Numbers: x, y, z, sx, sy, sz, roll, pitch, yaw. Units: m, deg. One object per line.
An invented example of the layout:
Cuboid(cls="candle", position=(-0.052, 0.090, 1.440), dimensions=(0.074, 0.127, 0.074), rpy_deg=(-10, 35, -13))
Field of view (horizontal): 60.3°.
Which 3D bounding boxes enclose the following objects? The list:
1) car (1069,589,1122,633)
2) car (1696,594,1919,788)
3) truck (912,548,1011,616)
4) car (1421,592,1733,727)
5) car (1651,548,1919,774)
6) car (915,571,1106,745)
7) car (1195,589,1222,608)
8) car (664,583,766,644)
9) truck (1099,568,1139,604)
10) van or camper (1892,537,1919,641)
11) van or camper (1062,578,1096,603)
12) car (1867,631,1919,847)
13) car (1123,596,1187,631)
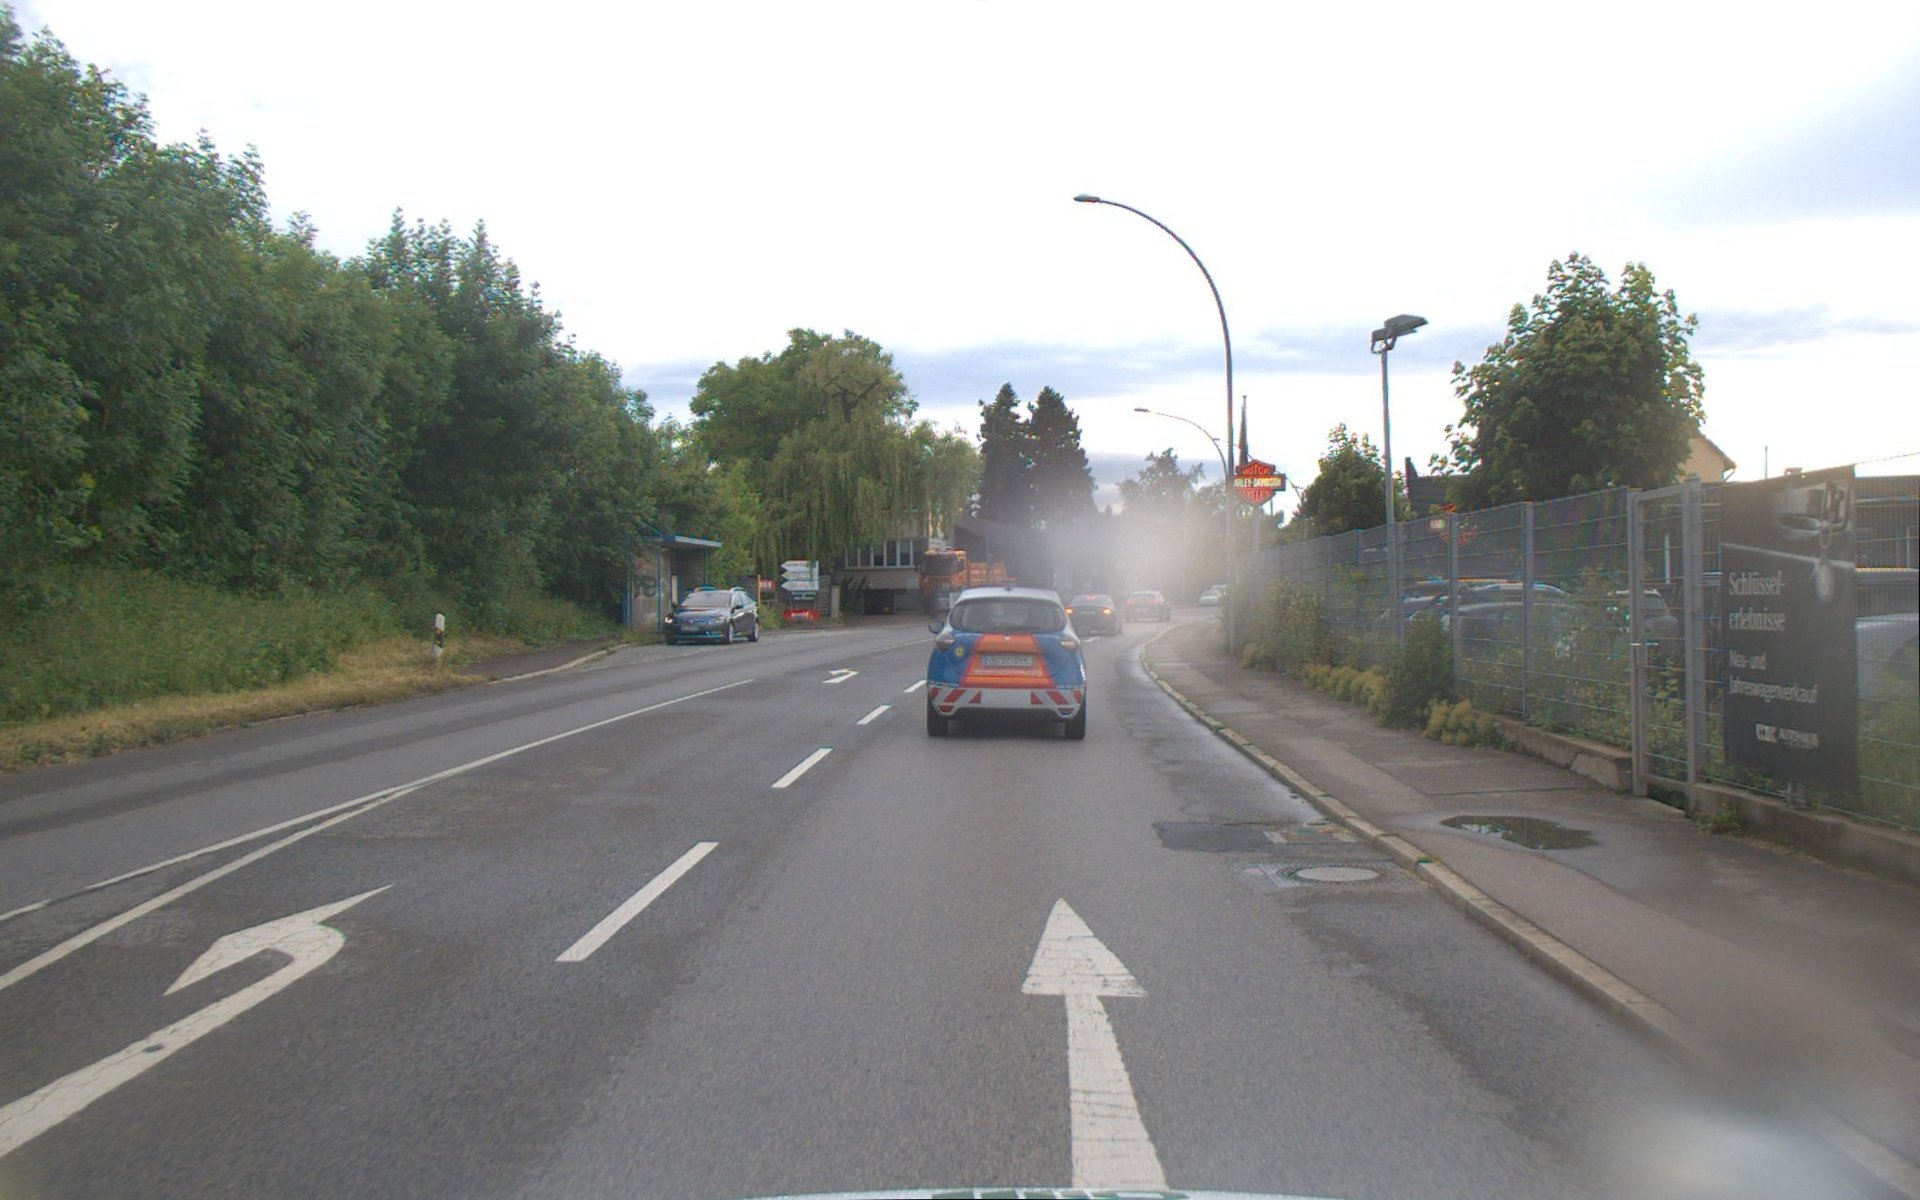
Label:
Cuboid(cls="car", position=(4.655, 0.391, 57.194), dimensions=(1.684, 1.400, 3.935), rpy_deg=(2, -1, 3))
Cuboid(cls="car", position=(8.245, 0.756, 13.259), dimensions=(3.902, 1.428, 1.790), rpy_deg=(2, -1, 7))
Cuboid(cls="truck", position=(0.204, -0.934, 94.482), dimensions=(2.642, 3.471, 9.072), rpy_deg=(2, -1, 20))
Cuboid(cls="car", position=(9.168, 0.878, 24.797), dimensions=(4.055, 1.803, 1.616), rpy_deg=(2, -1, 3))
Cuboid(cls="car", position=(8.848, 0.595, 15.418), dimensions=(4.049, 1.927, 1.774), rpy_deg=(2, -1, 2))
Cuboid(cls="car", position=(0.602, 0.576, 18.582), dimensions=(1.849, 1.660, 4.001), rpy_deg=(2, 0, 3))
Cuboid(cls="car", position=(22.193, -0.172, 147.625), dimensions=(1.951, 1.673, 4.003), rpy_deg=(0, 0, 15))
Cuboid(cls="car", position=(-6.588, 0.396, 45.000), dimensions=(1.952, 1.500, 4.700), rpy_deg=(2, -1, 1))
Cuboid(cls="truck", position=(14.157, -1.207, 146.721), dimensions=(2.344, 2.978, 5.960), rpy_deg=(2, 0, 17))
Cuboid(cls="van or camper", position=(25.145, -0.293, 41.161), dimensions=(2.284, 2.602, 5.743), rpy_deg=(-1, 0, 18))
Cuboid(cls="van or camper", position=(9.716, -0.759, 134.888), dimensions=(1.951, 1.942, 4.475), rpy_deg=(2, 0, 15))
Cuboid(cls="car", position=(8.494, 0.960, 11.022), dimensions=(3.903, 1.459, 1.826), rpy_deg=(0, 0, 3))
Cuboid(cls="car", position=(8.974, 0.625, 75.864), dimensions=(1.953, 1.445, 3.999), rpy_deg=(2, -1, 22))
